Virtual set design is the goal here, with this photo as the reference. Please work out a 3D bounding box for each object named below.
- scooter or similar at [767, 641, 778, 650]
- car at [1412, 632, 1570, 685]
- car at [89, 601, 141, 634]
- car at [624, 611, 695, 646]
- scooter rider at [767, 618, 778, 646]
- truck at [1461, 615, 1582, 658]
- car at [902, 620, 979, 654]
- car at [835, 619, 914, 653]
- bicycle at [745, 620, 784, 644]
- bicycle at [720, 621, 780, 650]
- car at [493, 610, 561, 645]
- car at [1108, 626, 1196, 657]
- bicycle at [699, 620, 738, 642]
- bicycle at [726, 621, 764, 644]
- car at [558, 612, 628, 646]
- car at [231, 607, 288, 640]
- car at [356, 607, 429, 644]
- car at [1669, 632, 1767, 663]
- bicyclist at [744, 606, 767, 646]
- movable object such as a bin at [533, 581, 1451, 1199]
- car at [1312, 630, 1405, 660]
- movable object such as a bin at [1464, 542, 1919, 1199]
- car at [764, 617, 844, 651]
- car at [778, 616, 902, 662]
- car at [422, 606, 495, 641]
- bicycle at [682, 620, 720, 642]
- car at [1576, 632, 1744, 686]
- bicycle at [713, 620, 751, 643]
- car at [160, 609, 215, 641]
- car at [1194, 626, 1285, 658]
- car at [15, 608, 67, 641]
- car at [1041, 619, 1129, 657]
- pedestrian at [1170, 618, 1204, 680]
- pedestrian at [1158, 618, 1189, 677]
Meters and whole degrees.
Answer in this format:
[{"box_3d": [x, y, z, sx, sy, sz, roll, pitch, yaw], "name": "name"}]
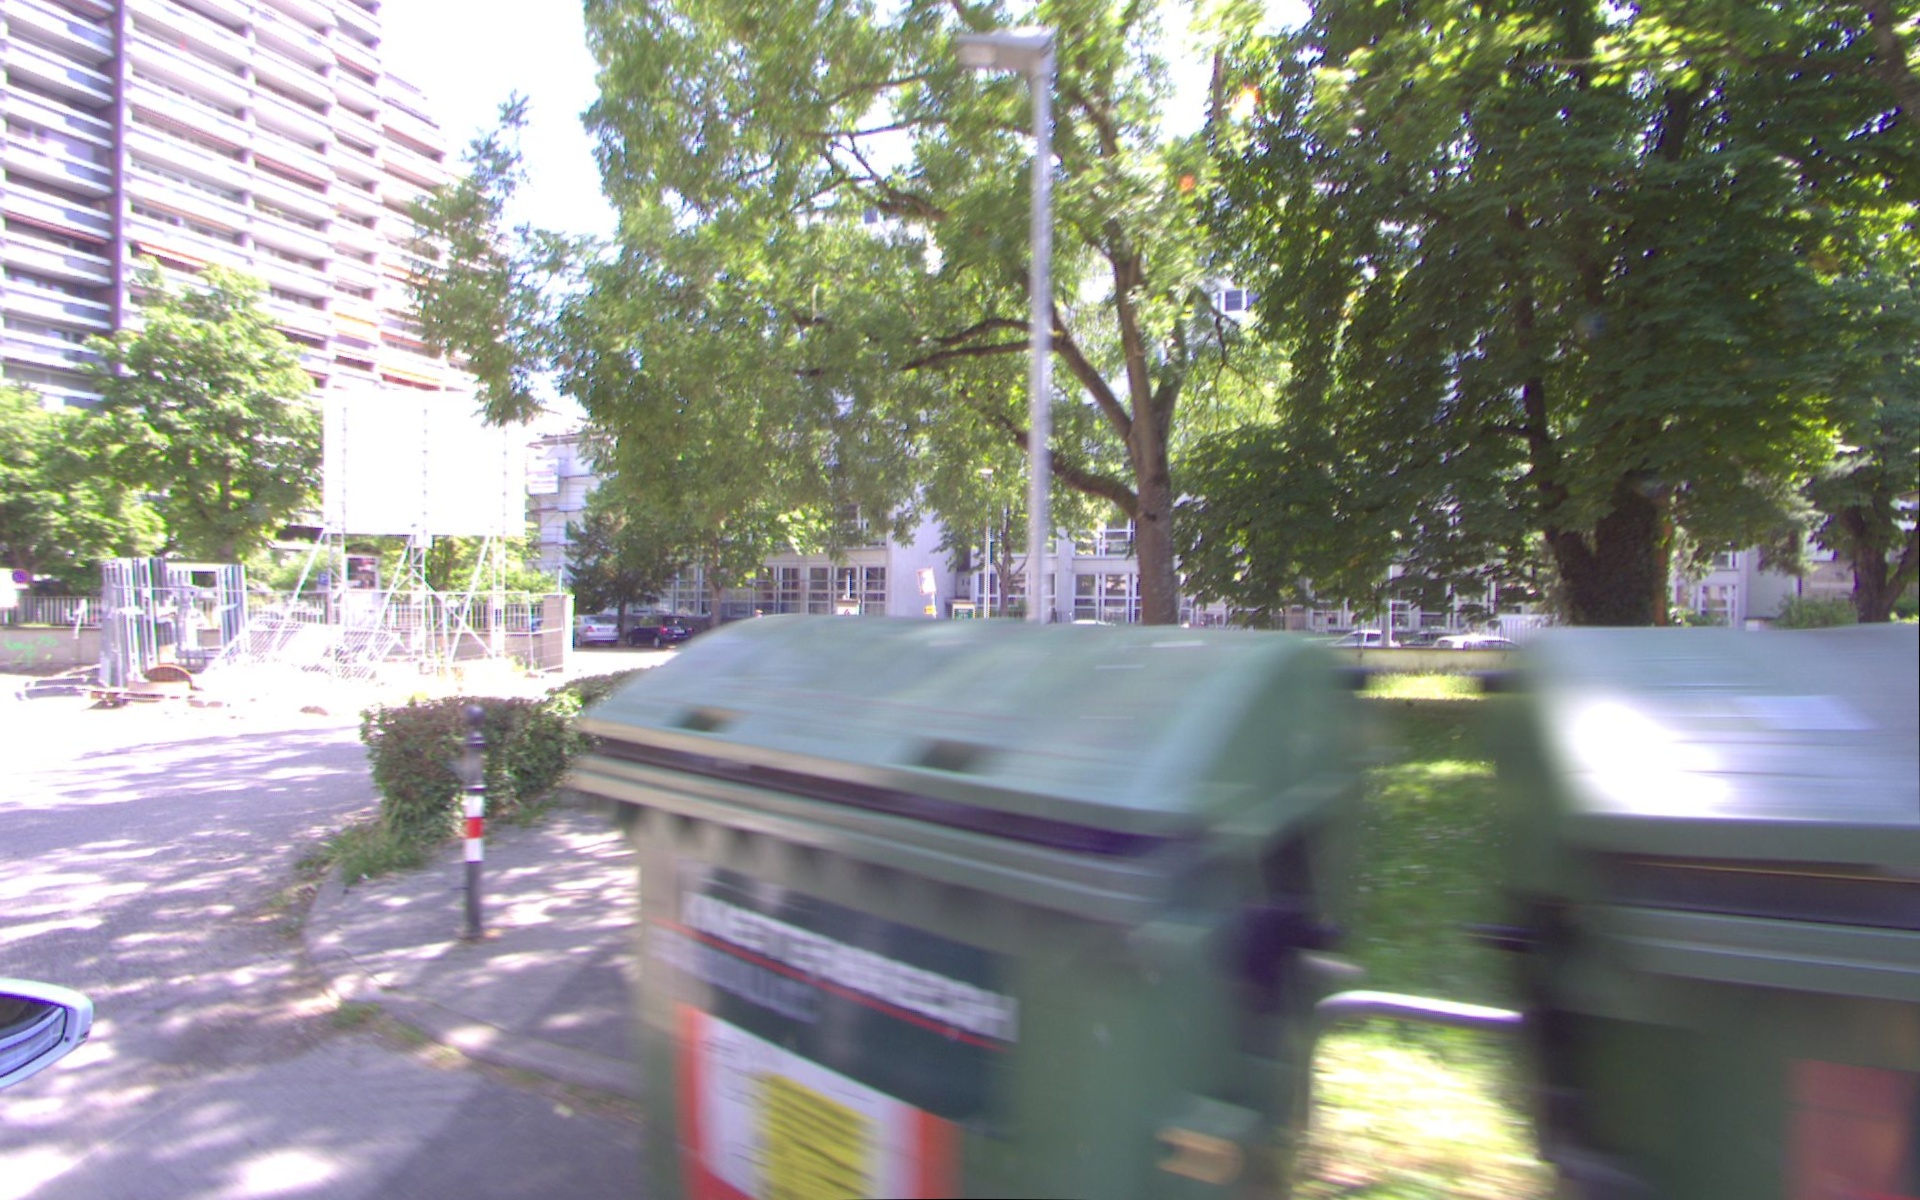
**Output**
[{"box_3d": [-7.819, 1.905, 41.772, 0.438, 0.363, 0.365, 0, -1, -5], "name": "scooter or similar"}, {"box_3d": [15.935, 1.736, 30.164, 3.860, 1.483, 1.706, 1, 0, -1], "name": "car"}, {"box_3d": [-37.941, 0.779, 44.926, 1.622, 1.405, 3.643, 1, -1, -43], "name": "car"}, {"box_3d": [-13.656, 1.277, 45.417, 1.623, 1.483, 3.641, 1, -1, -44], "name": "car"}, {"box_3d": [-7.821, 1.330, 41.778, 0.409, 1.149, 0.359, 0, 0, -5], "name": "scooter rider"}, {"box_3d": [25.515, 1.643, 45.590, 4.592, 1.856, 1.642, -1, -2, 42], "name": "truck"}, {"box_3d": [-0.931, 1.656, 45.924, 1.596, 1.455, 3.569, 1, -1, -43], "name": "car"}, {"box_3d": [-3.918, 1.603, 45.653, 3.639, 1.464, 1.598, 0, -1, 44], "name": "car"}, {"box_3d": [-10.233, 1.678, 52.499, 0.769, 1.203, 2.426, 0, -1, 22], "name": "bicycle"}, {"box_3d": [-8.873, 1.510, 42.377, 2.393, 1.167, 0.786, 1, 0, -6], "name": "bicycle"}, {"box_3d": [-19.433, 1.226, 44.924, 1.623, 1.483, 3.641, 1, -1, -44], "name": "car"}, {"box_3d": [8.749, 1.886, 45.827, 1.596, 1.297, 3.709, 1, -1, -43], "name": "car"}, {"box_3d": [-12.926, 1.662, 53.707, 0.769, 1.173, 2.379, 0, -1, 22], "name": "bicycle"}, {"box_3d": [-11.346, 1.695, 52.949, 0.769, 1.173, 2.379, 0, -1, 22], "name": "bicycle"}, {"box_3d": [-16.643, 1.290, 45.361, 1.623, 1.483, 3.641, 1, -1, -44], "name": "car"}, {"box_3d": [-31.278, 1.022, 44.677, 1.622, 1.405, 3.643, 1, -1, -43], "name": "car"}, {"box_3d": [-24.156, 1.073, 42.607, 3.636, 1.483, 1.625, 0, -1, 42], "name": "car"}, {"box_3d": [34.936, 2.175, 46.222, 1.478, 1.308, 3.319, 1, -1, -34], "name": "car"}, {"box_3d": [-8.649, 1.100, 42.388, 0.883, 1.687, 0.858, 0, 0, -5], "name": "bicyclist"}, {"box_3d": [0.087, 0.748, 1.903, 1.316, 1.489, 1.174, 0, -1, 38], "name": "movable object such as a bin"}, {"box_3d": [18.415, 2.052, 46.377, 3.699, 1.308, 1.600, 0, -1, 39], "name": "car"}, {"box_3d": [1.410, 0.709, 1.241, 1.289, 1.489, 1.180, 0, -1, 21], "name": "movable object such as a bin"}, {"box_3d": [-7.161, 1.517, 45.797, 3.635, 1.483, 1.632, 0, -1, 41], "name": "car"}, {"box_3d": [-4.084, 1.341, 34.585, 4.064, 1.483, 1.765, 1, 0, -1], "name": "car"}, {"box_3d": [-22.127, 1.027, 44.155, 3.636, 1.483, 1.625, 0, -1, 42], "name": "car"}, {"box_3d": [-13.974, 1.662, 54.095, 0.769, 1.173, 2.379, 0, -1, 22], "name": "bicycle"}, {"box_3d": [20.964, 1.760, 30.074, 3.860, 1.483, 1.706, 1, 0, -1], "name": "car"}, {"box_3d": [-12.148, 1.681, 53.381, 0.769, 1.173, 2.379, 0, -1, 22], "name": "bicycle"}, {"box_3d": [-34.612, 1.102, 44.857, 1.622, 1.405, 3.643, 1, -1, -43], "name": "car"}, {"box_3d": [12.606, 1.884, 45.364, 1.596, 1.322, 3.710, 1, -1, -42], "name": "car"}, {"box_3d": [-40.321, 1.060, 43.952, 1.622, 1.405, 3.643, 1, -1, -43], "name": "car"}, {"box_3d": [5.683, 1.712, 45.754, 3.702, 1.641, 1.599, 0, -1, 41], "name": "car"}, {"box_3d": [5.989, 1.293, 26.445, 0.718, 1.609, 0.741, 1, -2, -1], "name": "pedestrian"}, {"box_3d": [5.911, 1.321, 27.791, 0.718, 1.609, 0.741, 1, -2, 1], "name": "pedestrian"}]
